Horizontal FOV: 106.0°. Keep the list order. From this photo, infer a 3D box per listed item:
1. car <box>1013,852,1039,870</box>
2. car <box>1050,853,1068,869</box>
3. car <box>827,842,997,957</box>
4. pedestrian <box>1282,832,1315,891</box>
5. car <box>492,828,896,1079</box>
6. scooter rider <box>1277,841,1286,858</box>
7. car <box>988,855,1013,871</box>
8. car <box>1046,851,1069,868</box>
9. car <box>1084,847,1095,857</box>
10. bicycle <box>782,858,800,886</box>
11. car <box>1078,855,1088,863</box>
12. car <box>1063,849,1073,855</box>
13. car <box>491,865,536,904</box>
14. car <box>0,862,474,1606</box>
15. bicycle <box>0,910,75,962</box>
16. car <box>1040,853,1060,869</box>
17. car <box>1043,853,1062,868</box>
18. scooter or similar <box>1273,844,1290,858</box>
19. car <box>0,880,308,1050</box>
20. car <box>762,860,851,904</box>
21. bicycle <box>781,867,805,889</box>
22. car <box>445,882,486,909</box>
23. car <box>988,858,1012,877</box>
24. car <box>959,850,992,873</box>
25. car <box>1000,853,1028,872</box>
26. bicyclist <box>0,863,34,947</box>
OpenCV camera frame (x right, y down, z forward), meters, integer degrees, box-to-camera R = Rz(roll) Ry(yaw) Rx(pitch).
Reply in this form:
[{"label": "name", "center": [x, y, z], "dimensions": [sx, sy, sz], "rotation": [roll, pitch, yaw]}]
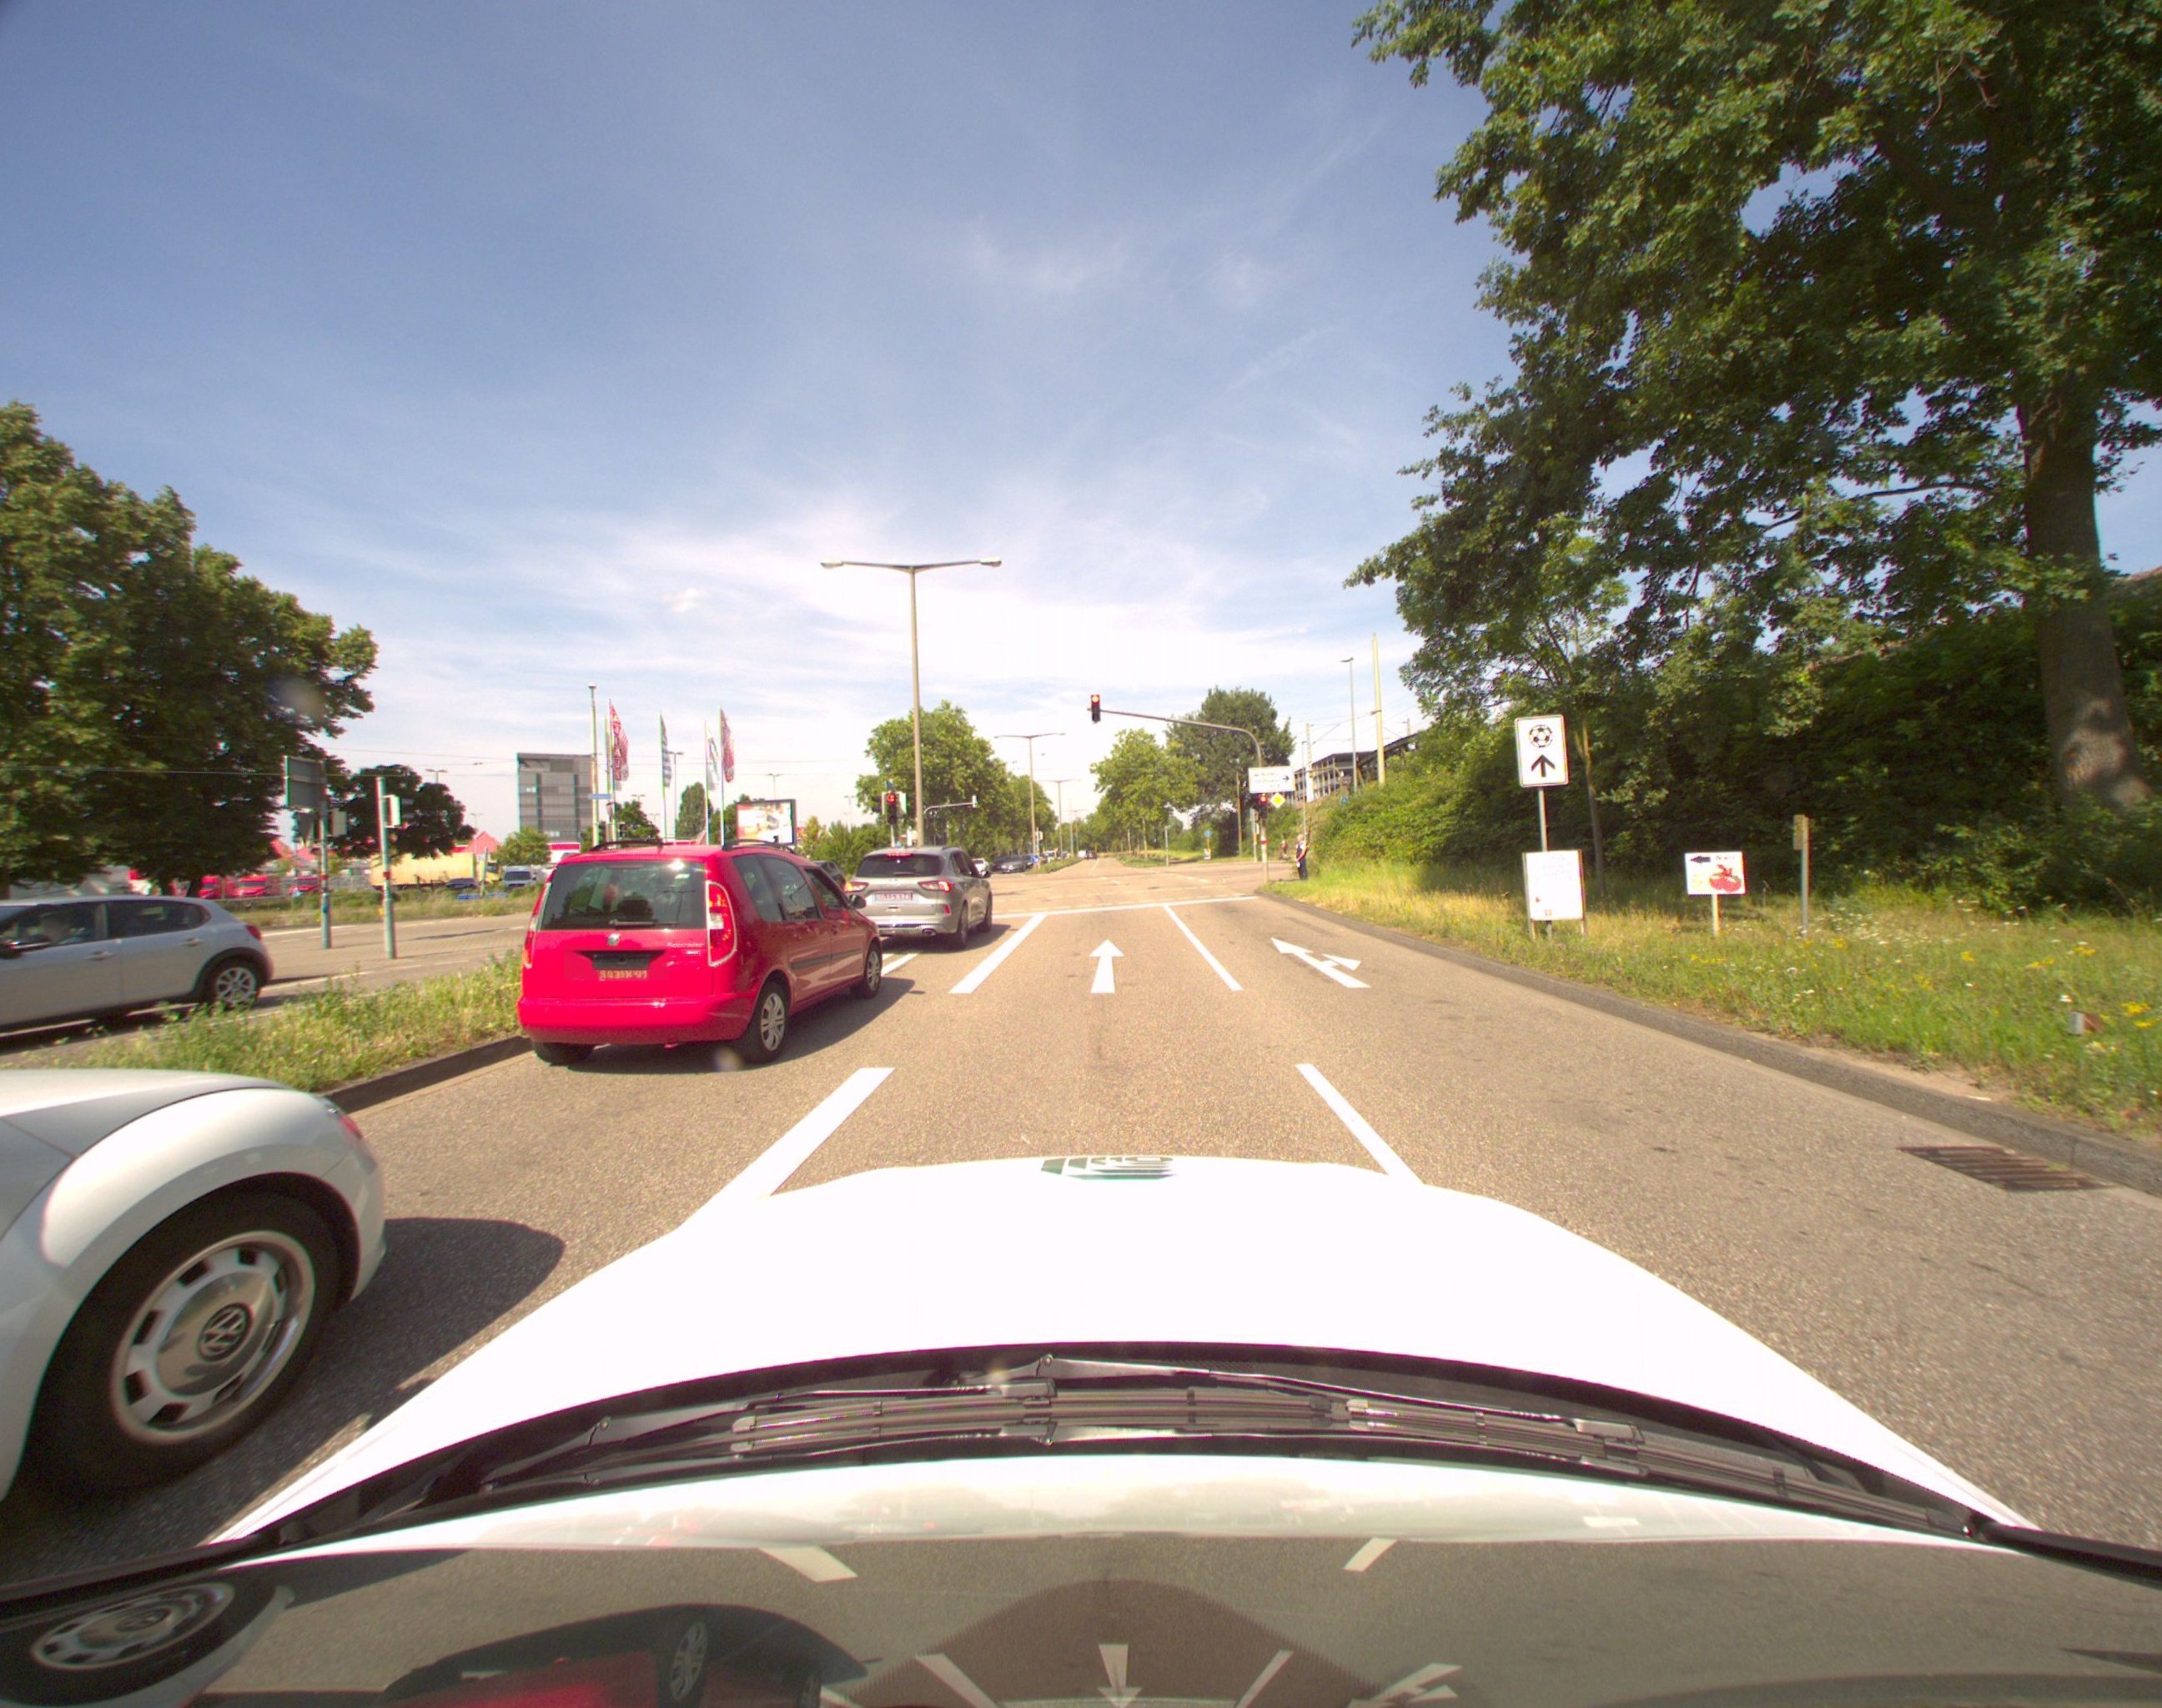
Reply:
[{"label": "car", "center": [-5.120, 0.637, 76.439], "dimensions": [1.986, 1.500, 4.002], "rotation": [-2, 0, 2]}, {"label": "car", "center": [-2.771, 0.906, 104.980], "dimensions": [1.986, 1.895, 4.377], "rotation": [-2, 0, 1]}, {"label": "car", "center": [-2.694, 0.658, 14.007], "dimensions": [1.874, 1.618, 4.214], "rotation": [-2, 0, 2]}, {"label": "pedestrian", "center": [7.362, 0.243, 27.596], "dimensions": [0.835, 1.932, 0.771], "rotation": [-2, 2, -2]}, {"label": "car", "center": [-3.016, 0.683, 7.349], "dimensions": [1.622, 1.596, 3.919], "rotation": [-2, -1, 2]}, {"label": "scooter rider", "center": [17.048, -0.363, 69.209], "dimensions": [0.672, 1.428, 0.493], "rotation": [-2, 0, 7]}, {"label": "car", "center": [-8.254, 0.890, 83.794], "dimensions": [1.986, 1.513, 4.002], "rotation": [-2, 0, 2]}, {"label": "car", "center": [-2.366, 0.539, 83.125], "dimensions": [1.986, 1.695, 4.001], "rotation": [-2, 0, 1]}, {"label": "car", "center": [1.576, -0.376, 150.568], "dimensions": [1.730, 1.535, 4.003], "rotation": [-2, 2, 2]}, {"label": "bicycle", "center": [-17.308, 1.089, 48.670], "dimensions": [0.670, 1.615, 0.991], "rotation": [-3, 0, -3]}, {"label": "car", "center": [0.459, 1.021, 184.408], "dimensions": [1.859, 1.694, 4.411], "rotation": [-2, 0, 2]}, {"label": "car", "center": [-3.963, -0.586, 243.507], "dimensions": [1.869, 1.694, 4.388], "rotation": [-2, 0, -14]}, {"label": "car", "center": [-40.451, 2.152, 57.978], "dimensions": [2.011, 2.532, 4.583], "rotation": [-3, 0, -42]}, {"label": "car", "center": [-3.096, 0.796, 0.818], "dimensions": [1.759, 1.479, 4.137], "rotation": [-1, 0, 2]}, {"label": "bicycle", "center": [-22.953, 1.770, 17.204], "dimensions": [1.962, 0.983, 0.781], "rotation": [-2, 2, -34]}, {"label": "car", "center": [-3.478, 0.770, 92.776], "dimensions": [1.896, 1.596, 4.002], "rotation": [-2, 0, 2]}, {"label": "car", "center": [-3.435, 0.731, 99.150], "dimensions": [1.986, 1.678, 4.002], "rotation": [-2, 0, 2]}, {"label": "scooter or similar", "center": [17.054, -0.271, 69.201], "dimensions": [1.337, 1.098, 0.493], "rotation": [-2, 0, 6]}, {"label": "car", "center": [-10.893, 1.136, 8.428], "dimensions": [1.768, 1.470, 4.003], "rotation": [-4, 0, 3]}, {"label": "car", "center": [-9.952, 0.980, 29.807], "dimensions": [1.734, 1.390, 4.002], "rotation": [-2, 0, 2]}, {"label": "bicycle", "center": [-17.312, 1.421, 48.981], "dimensions": [0.670, 1.256, 2.244], "rotation": [-3, 0, -3]}, {"label": "car", "center": [-42.489, 2.842, 56.208], "dimensions": [2.011, 1.684, 3.953], "rotation": [-3, 0, -40]}, {"label": "car", "center": [-8.837, 1.415, 89.071], "dimensions": [1.986, 1.895, 4.377], "rotation": [-2, 0, 1]}, {"label": "car", "center": [-8.460, 0.578, 65.756], "dimensions": [1.986, 1.512, 4.002], "rotation": [-2, 2, 2]}, {"label": "car", "center": [-5.623, 0.708, 68.836], "dimensions": [1.911, 1.513, 4.002], "rotation": [-2, 0, 2]}, {"label": "bicyclist", "center": [-23.028, 1.087, 17.155], "dimensions": [0.903, 1.715, 0.774], "rotation": [-3, 3, -34]}]
